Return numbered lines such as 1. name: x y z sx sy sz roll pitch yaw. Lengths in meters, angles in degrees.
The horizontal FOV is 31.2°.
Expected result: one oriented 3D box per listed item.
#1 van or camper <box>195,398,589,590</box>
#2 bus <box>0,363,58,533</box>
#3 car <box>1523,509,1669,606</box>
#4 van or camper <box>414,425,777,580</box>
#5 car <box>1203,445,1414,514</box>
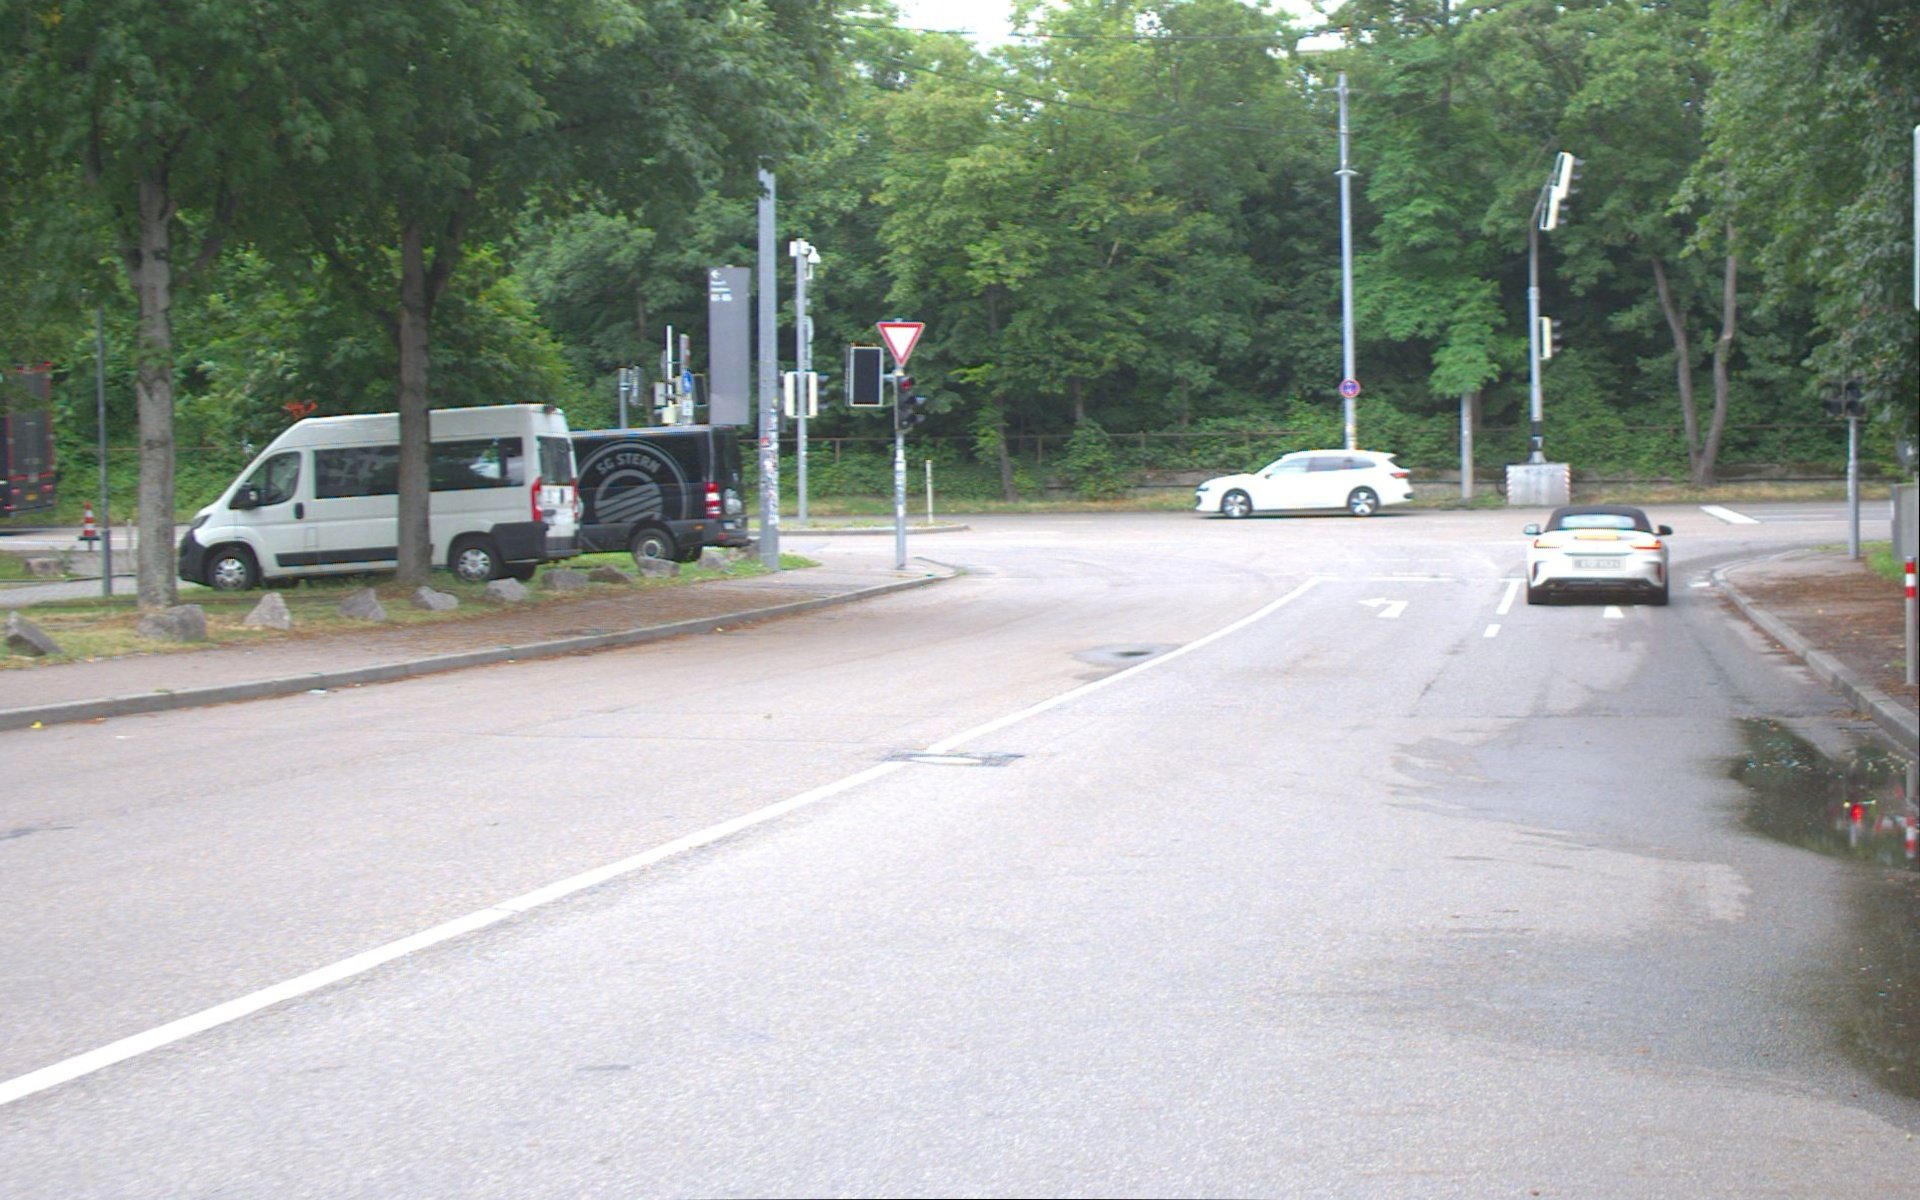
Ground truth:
1. van or camper: -7.838 -1.455 47.686 4.972 2.561 2.061 1 0 9
2. bus: -24.952 -3.615 81.983 6.221 3.944 2.349 1 0 11
3. car: 8.648 -0.573 47.009 1.828 1.253 3.999 1 1 9
4. van or camper: -5.998 -1.579 56.785 5.538 2.306 2.061 -2 0 13
5. car: 7.913 -2.731 77.997 4.674 1.451 1.899 1 1 7
